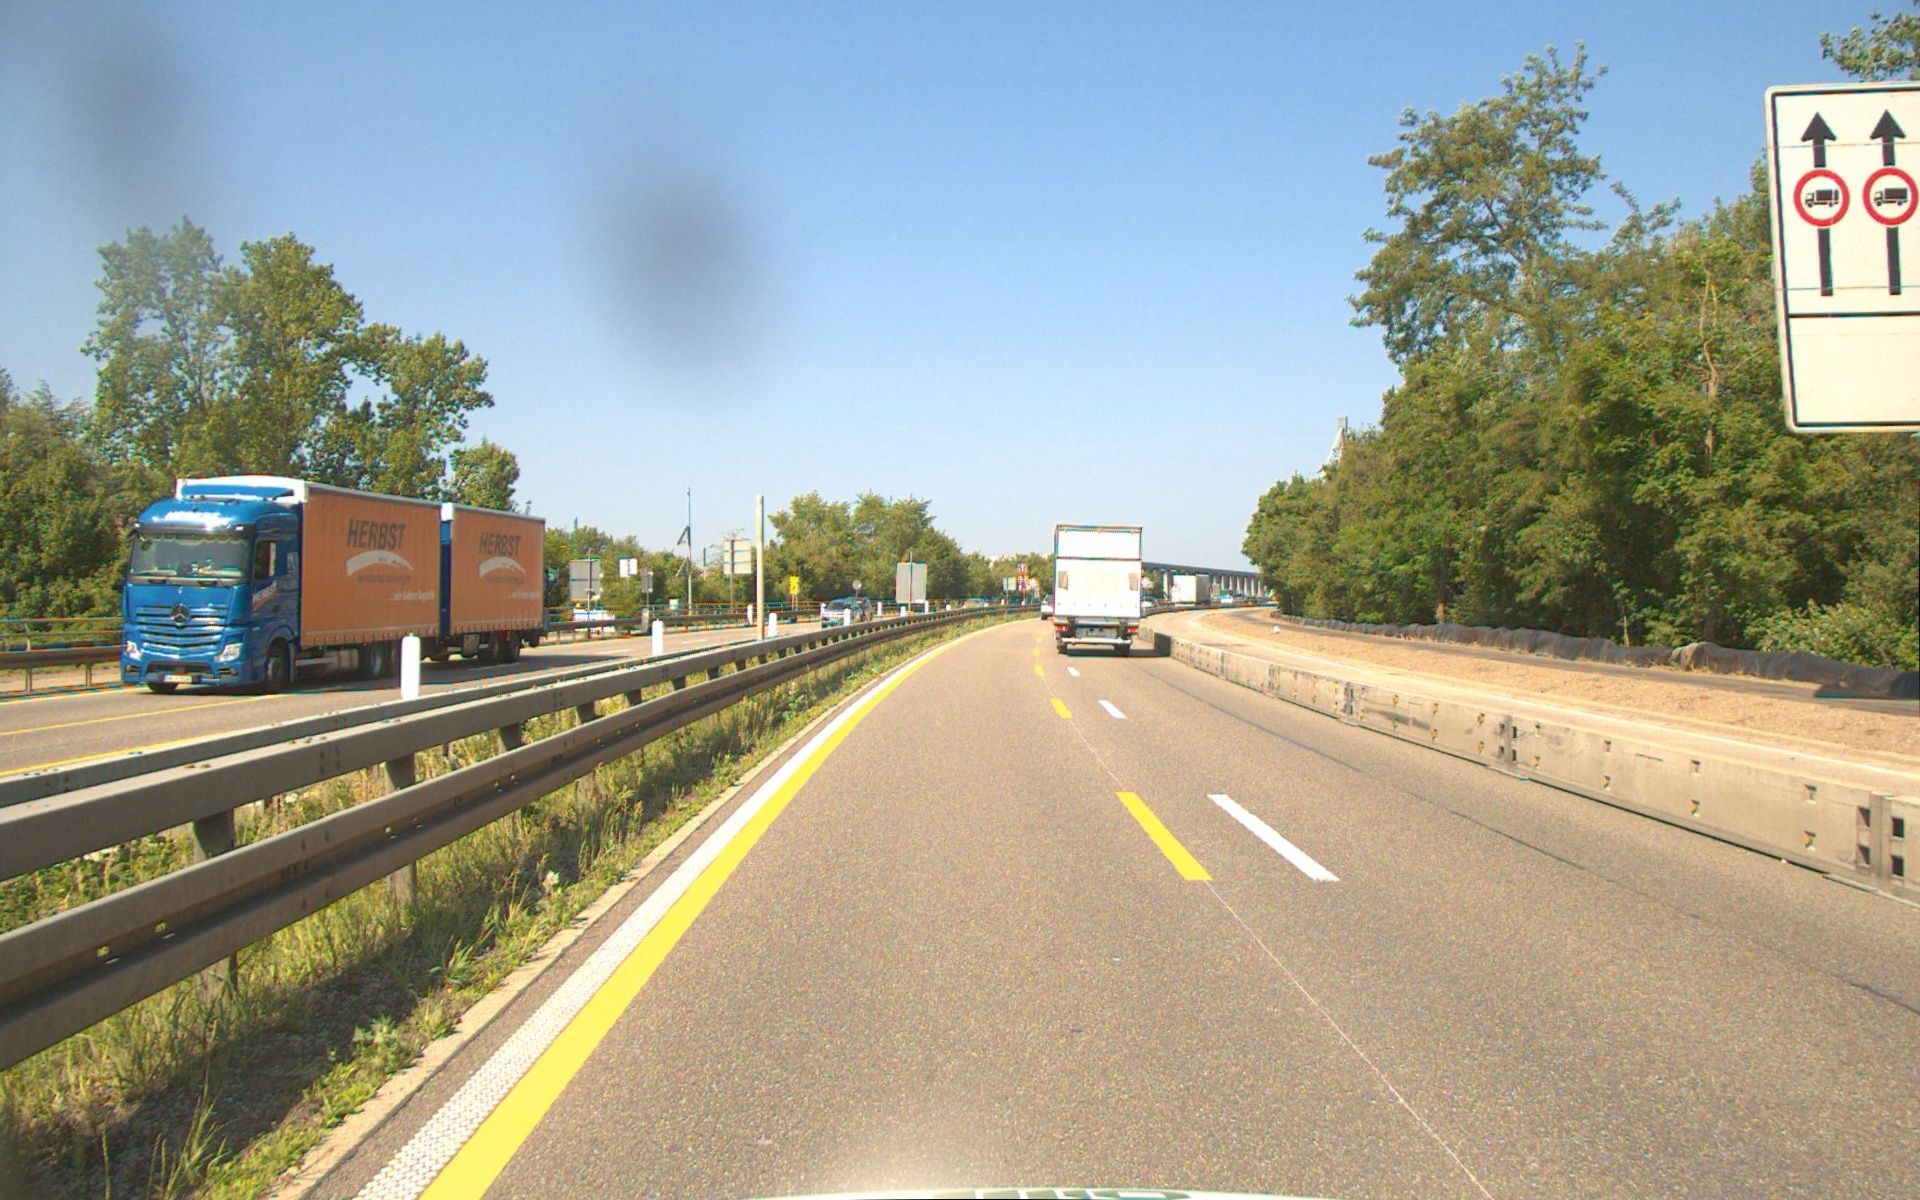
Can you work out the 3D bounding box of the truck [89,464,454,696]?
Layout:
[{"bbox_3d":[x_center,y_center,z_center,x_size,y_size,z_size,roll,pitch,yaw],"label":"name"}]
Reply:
[{"bbox_3d":[-14.060,-0.413,35.156,2.975,4.162,10.627,1,1,2],"label":"truck"}]

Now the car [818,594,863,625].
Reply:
[{"bbox_3d":[-6.885,0.531,95.719,1.869,1.680,4.379,-1,0,5],"label":"car"}]

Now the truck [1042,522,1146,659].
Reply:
[{"bbox_3d":[3.876,-0.266,46.496,2.578,3.487,7.238,1,0,7],"label":"truck"}]

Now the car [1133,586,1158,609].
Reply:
[{"bbox_3d":[17.979,-0.261,159.842,1.951,2.049,4.004,-2,0,12],"label":"car"}]

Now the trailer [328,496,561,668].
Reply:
[{"bbox_3d":[-13.781,-0.483,45.307,2.975,4.162,9.791,1,1,2],"label":"trailer"}]

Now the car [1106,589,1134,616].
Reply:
[{"bbox_3d":[13.326,0.185,137.553,1.951,2.049,4.004,-2,0,10],"label":"car"}]

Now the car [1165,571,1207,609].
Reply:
[{"bbox_3d":[27.289,-1.263,199.116,4.117,4.326,10.671,-2,1,12],"label":"car"}]
